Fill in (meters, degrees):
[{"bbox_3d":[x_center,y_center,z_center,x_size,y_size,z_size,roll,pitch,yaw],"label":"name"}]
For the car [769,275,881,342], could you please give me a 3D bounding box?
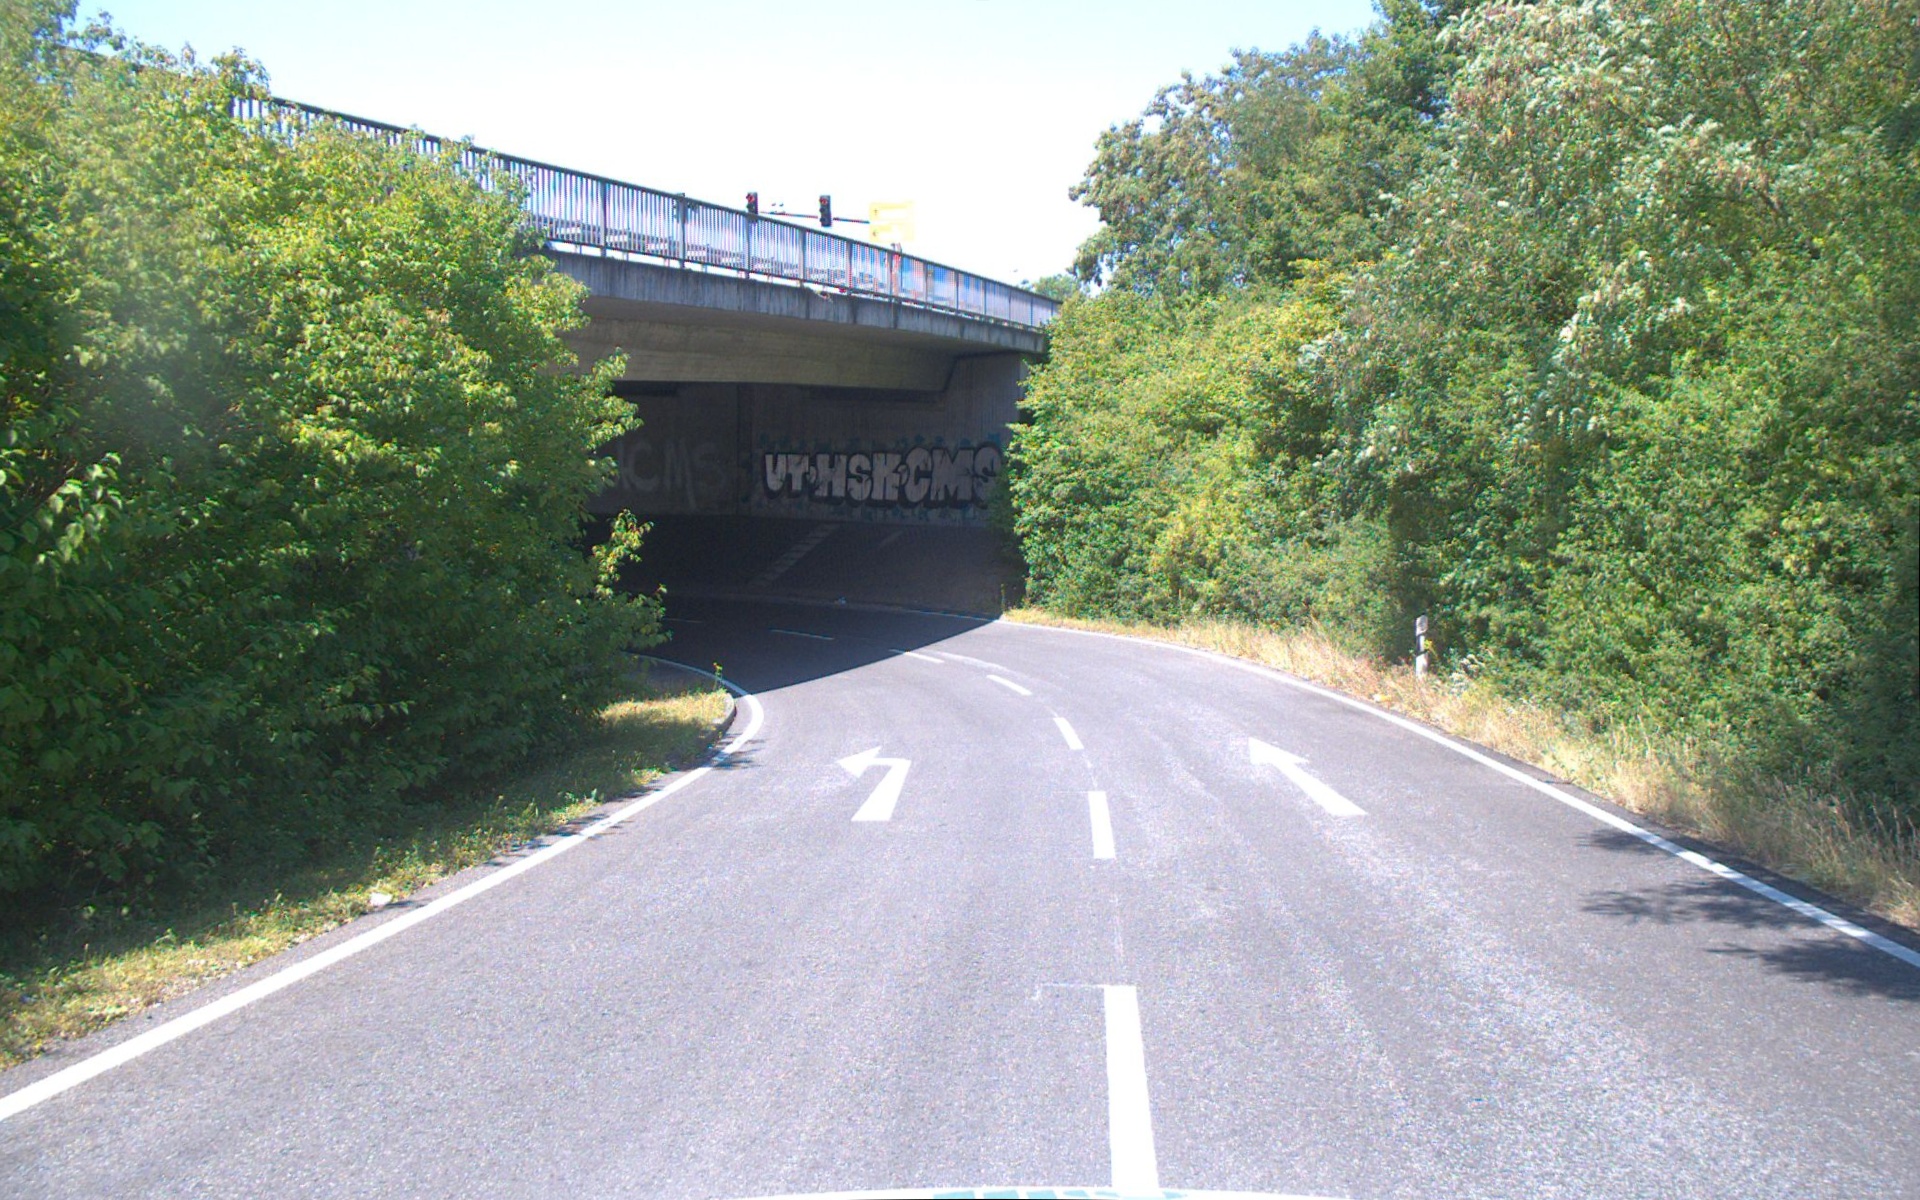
[{"bbox_3d":[-3.232,-7.029,40.103,1.577,1.210,3.483,1,4,16],"label":"car"}]
